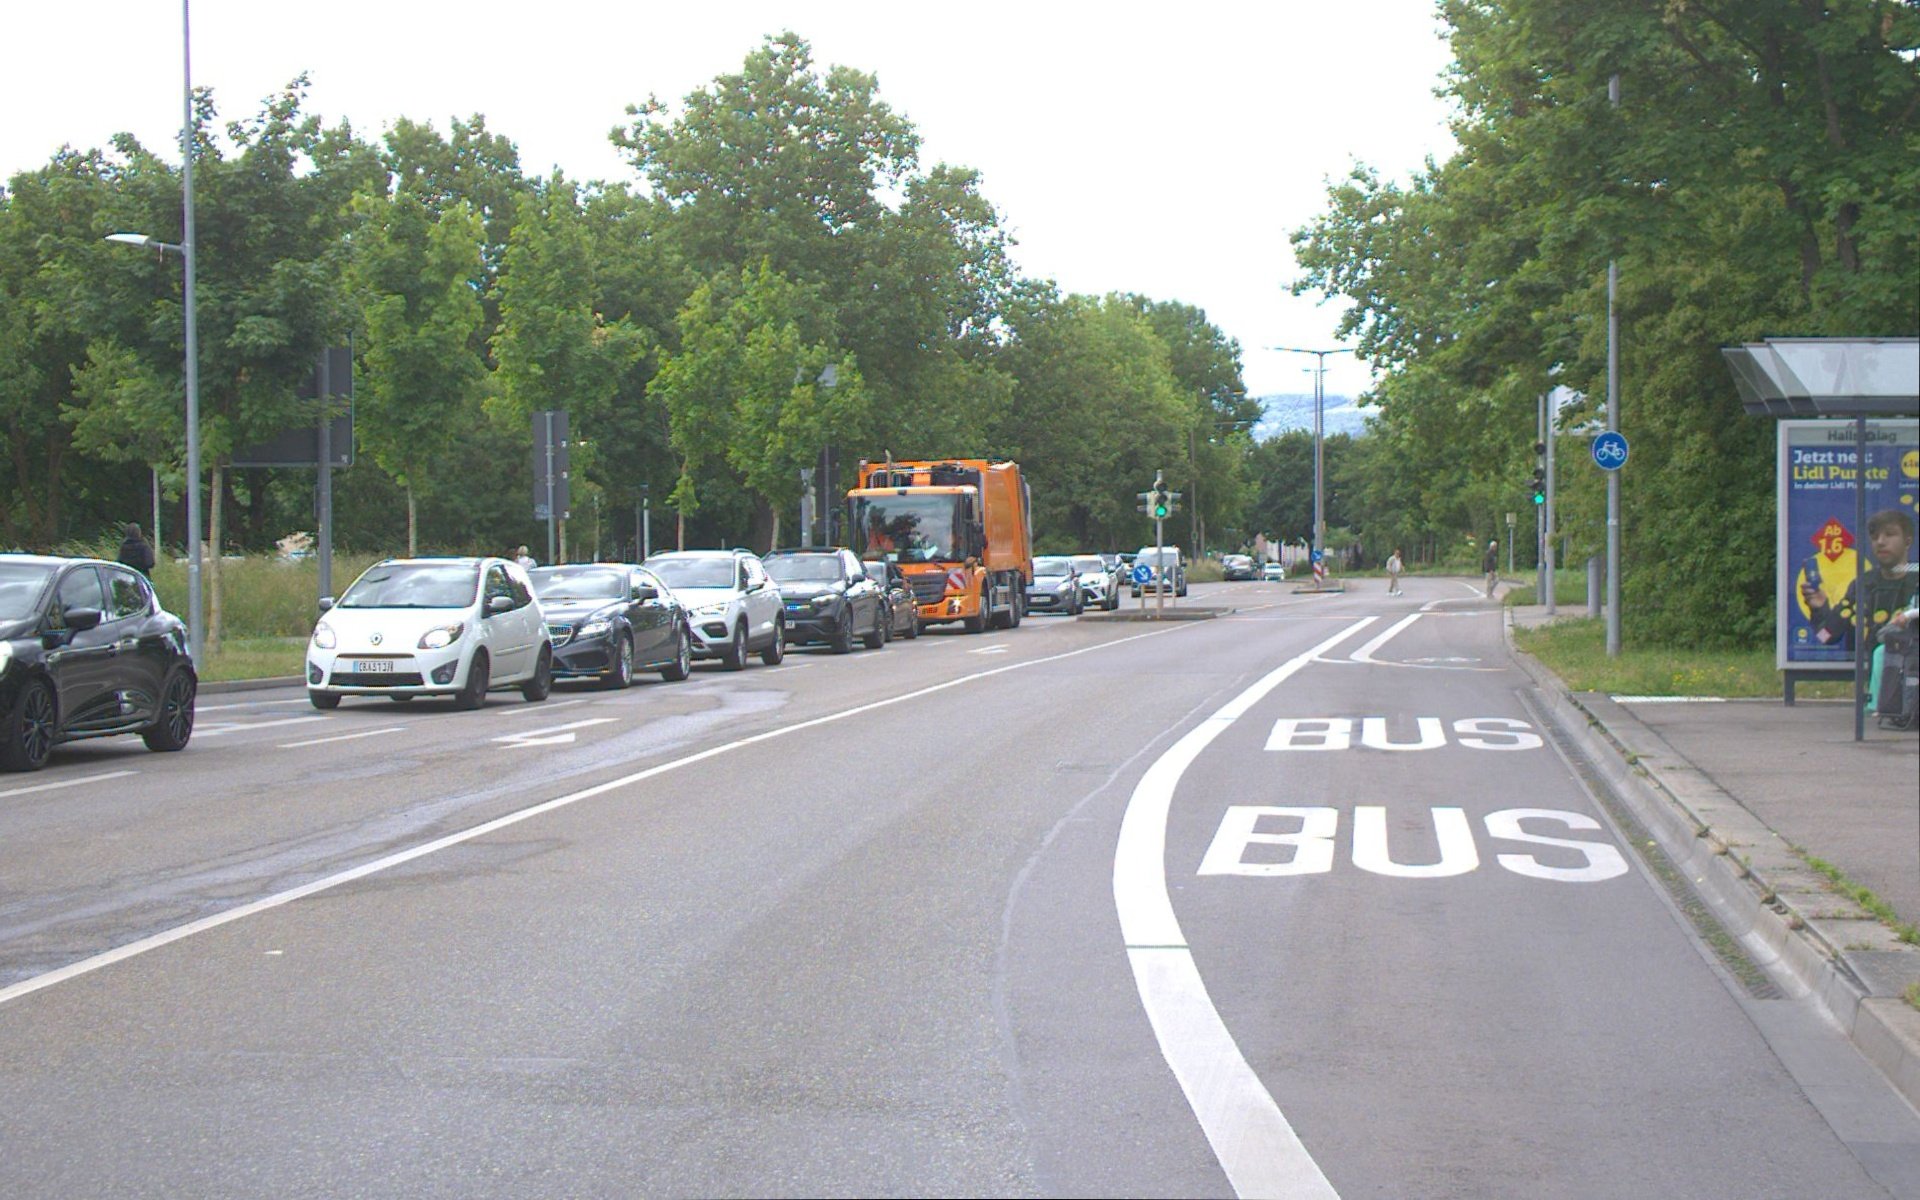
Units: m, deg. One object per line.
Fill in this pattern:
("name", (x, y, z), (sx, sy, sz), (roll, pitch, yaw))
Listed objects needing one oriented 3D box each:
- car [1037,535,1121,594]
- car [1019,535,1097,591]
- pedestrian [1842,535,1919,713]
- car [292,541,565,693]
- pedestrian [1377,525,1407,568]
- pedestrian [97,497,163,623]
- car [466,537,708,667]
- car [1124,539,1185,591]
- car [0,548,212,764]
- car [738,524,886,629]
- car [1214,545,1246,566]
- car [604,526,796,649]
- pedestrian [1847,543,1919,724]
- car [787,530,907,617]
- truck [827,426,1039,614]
("car", (3.301, -0.978, 94.530), (1.846, 1.515, 4.814), (-2, 1, 7))
("car", (2.489, -0.941, 86.336), (1.547, 1.326, 3.653), (-2, 1, 8))
("pedestrian", (6.996, 0.172, 25.682), (0.728, 1.311, 0.589), (1, 1, 10))
("car", (-5.144, 0.122, 33.733), (1.640, 1.386, 3.761), (0, 1, 8))
("pedestrian", (14.785, -1.838, 117.669), (0.788, 1.458, 0.749), (-1, 1, -10))
("pedestrian", (-12.179, -0.587, 50.462), (0.721, 1.829, 0.677), (0, 1, 9))
("car", (-4.198, -0.027, 39.451), (1.640, 1.386, 4.884), (0, 1, 8))
("car", (7.077, -1.272, 124.470), (1.846, 1.797, 4.649), (-2, 1, 7))
("car", (-6.587, 0.324, 23.372), (1.640, 1.327, 4.059), (0, 1, 8))
("car", (-2.280, -0.398, 53.949), (1.640, 1.580, 4.059), (0, 1, 8))
("car", (17.114, -2.839, 217.921), (1.772, 1.300, 3.999), (0, 1, 8))
("car", (-3.452, -0.201, 46.320), (1.731, 1.580, 4.222), (0, 1, 8))
("pedestrian", (6.842, 0.230, 24.296), (0.773, 1.248, 0.772), (0, 1, -33))
("car", (-1.924, -0.491, 59.496), (1.434, 1.452, 3.894), (0, 1, 8))
("truck", (-0.397, -1.588, 68.890), (2.706, 3.475, 9.992), (0, 1, 9))
